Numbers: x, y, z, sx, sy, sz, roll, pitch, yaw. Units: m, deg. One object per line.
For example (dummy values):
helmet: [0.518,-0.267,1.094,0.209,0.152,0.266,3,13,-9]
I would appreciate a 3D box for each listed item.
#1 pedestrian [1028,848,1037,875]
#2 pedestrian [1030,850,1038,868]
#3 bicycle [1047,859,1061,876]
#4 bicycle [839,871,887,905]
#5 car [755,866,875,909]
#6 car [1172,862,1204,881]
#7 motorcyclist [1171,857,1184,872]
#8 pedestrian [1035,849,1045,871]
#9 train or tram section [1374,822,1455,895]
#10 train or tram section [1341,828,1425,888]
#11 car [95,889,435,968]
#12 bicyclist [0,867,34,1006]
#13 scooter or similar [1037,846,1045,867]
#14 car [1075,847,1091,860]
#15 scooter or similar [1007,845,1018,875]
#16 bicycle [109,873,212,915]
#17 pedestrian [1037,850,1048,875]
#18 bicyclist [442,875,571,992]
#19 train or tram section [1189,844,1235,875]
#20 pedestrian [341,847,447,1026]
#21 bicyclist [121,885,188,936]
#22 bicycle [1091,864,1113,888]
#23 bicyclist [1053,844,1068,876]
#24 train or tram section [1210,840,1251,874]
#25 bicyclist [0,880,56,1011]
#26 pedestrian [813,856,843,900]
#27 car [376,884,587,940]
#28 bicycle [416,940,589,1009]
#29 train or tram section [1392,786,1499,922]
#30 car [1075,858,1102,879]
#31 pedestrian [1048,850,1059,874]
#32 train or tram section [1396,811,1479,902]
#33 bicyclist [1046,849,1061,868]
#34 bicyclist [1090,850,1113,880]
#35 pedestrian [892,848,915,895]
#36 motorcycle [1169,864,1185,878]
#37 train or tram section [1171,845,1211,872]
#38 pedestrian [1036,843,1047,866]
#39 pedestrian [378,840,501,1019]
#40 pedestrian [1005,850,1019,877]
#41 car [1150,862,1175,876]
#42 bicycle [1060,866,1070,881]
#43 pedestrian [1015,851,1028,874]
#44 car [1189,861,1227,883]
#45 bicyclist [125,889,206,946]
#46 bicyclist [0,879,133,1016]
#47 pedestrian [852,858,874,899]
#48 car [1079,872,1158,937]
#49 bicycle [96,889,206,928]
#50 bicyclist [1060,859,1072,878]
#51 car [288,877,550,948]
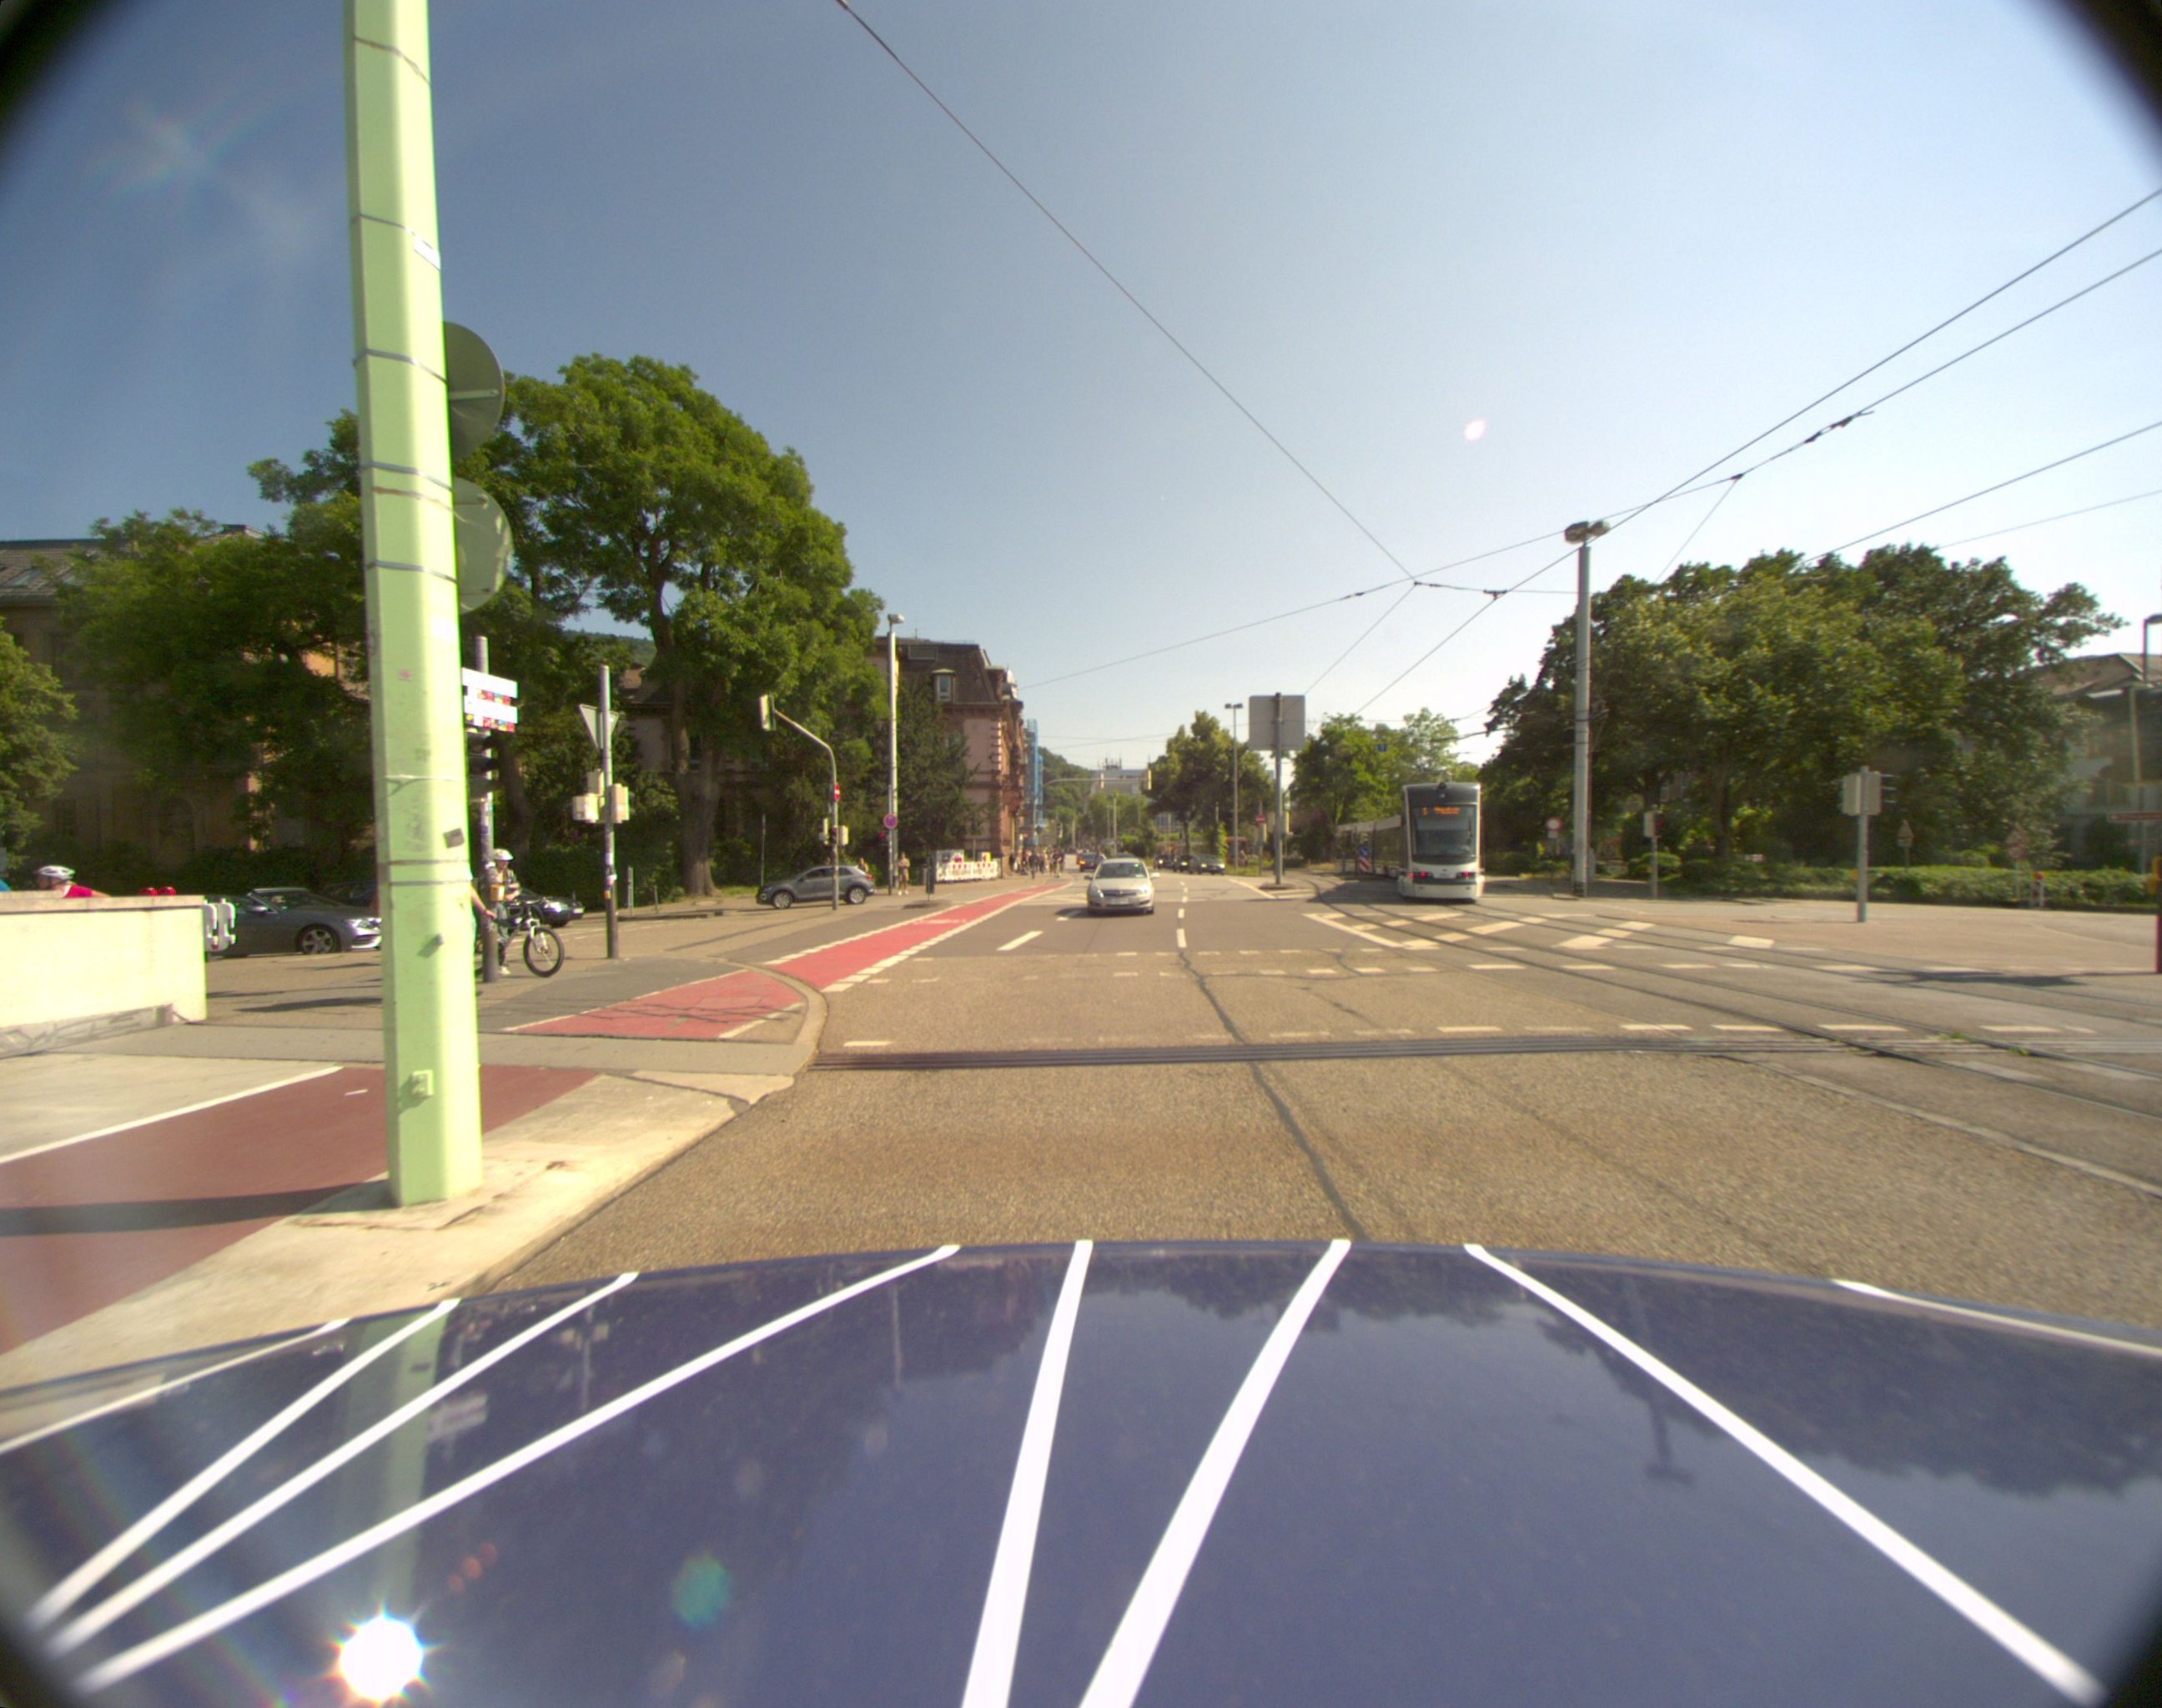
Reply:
pedestrian: [-3.538,0.546,55.150,0.636,1.880,0.903,0,0,-5]
pedestrian: [-4.419,0.492,71.033,0.707,1.685,0.628,1,1,-1]
bicycle: [-1.794,0.881,49.827,0.781,1.096,2.138,1,0,-5]
bicycle: [-9.297,1.444,32.475,0.801,1.199,2.276,3,4,18]
car: [-9.913,1.253,28.321,3.999,1.506,1.932,1,-2,-27]
car: [8.462,1.368,60.285,1.798,1.403,3.999,1,0,-2]
motorcyclist: [8.501,0.914,66.994,0.903,1.350,0.992,1,0,-4]
pedestrian: [-3.929,0.563,72.923,0.814,2.002,0.815,3,0,-4]
train or tram section: [19.046,0.308,43.973,2.541,3.754,9.180,0,-1,13]
train or tram section: [21.021,0.305,53.574,2.543,3.755,9.171,3,0,3]
car: [-16.220,1.466,15.369,4.486,1.387,1.846,1,0,-9]
bicyclist: [-12.007,0.887,7.879,1.082,1.465,0.928,-1,0,8]
scooter or similar: [-3.875,0.242,72.903,0.694,2.002,1.095,1,0,-4]
car: [0.231,-0.047,99.977,1.999,1.564,4.000,-1,-1,-2]
scooter or similar: [-4.586,0.414,50.837,0.694,2.002,1.095,1,0,-4]
bicycle: [-28.540,1.225,23.585,2.004,1.218,0.717,-1,0,-11]
pedestrian: [-2.749,0.581,54.549,0.707,1.758,0.903,-1,0,-5]
bicyclist: [-7.595,1.031,10.087,1.082,1.465,0.801,-1,0,6]
train or tram section: [15.260,0.675,89.537,2.767,3.383,12.409,1,0,-3]
pedestrian: [-6.957,0.810,7.718,0.535,1.750,0.577,-1,0,5]
bicyclist: [-28.720,1.740,23.567,1.060,1.544,0.776,0,0,-12]
bicycle: [0.998,1.033,36.540,0.644,1.076,2.495,1,0,-8]
bicyclist: [-1.306,0.411,48.333,0.944,2.002,0.830,1,0,-4]
train or tram section: [15.755,0.340,80.282,2.768,3.383,5.885,1,0,-4]
bicyclist: [-12.670,1.044,8.565,1.082,1.465,0.929,-1,0,10]
pedestrian: [-10.619,1.013,31.903,1.060,1.772,0.700,-1,4,-12]
car: [-16.805,1.602,21.492,4.315,1.349,1.881,-1,-1,-6]
bicycle: [-7.640,1.586,10.063,1.943,0.822,0.565,-1,0,6]
train or tram section: [12.519,-0.014,26.957,2.472,3.755,11.868,-1,0,21]
car: [0.587,1.178,62.352,1.999,1.564,4.000,-1,-1,-2]
pedestrian: [-1.999,0.563,54.645,0.707,1.743,0.902,1,1,-5]
train or tram section: [16.418,0.179,35.583,2.406,3.659,9.634,0,-1,18]
bicyclist: [-1.782,0.310,49.812,0.923,1.212,0.971,1,0,-4]
bicyclist: [0.980,0.518,36.601,0.913,1.385,1.232,1,0,-7]
pedestrian: [-7.810,0.767,33.432,0.777,2.002,1.059,1,0,-3]
motorcycle: [8.451,1.495,67.021,0.903,1.156,2.352,-1,0,-4]
train or tram section: [14.620,0.595,101.982,2.767,3.383,12.408,1,0,-3]
pedestrian: [-3.451,0.036,66.361,0.814,2.002,0.815,3,0,-4]
pedestrian: [-6.903,0.785,8.200,0.775,1.844,0.645,-1,0,5]
pedestrian: [-4.668,0.633,51.648,0.814,1.782,0.815,3,0,-4]
car: [7.676,1.415,71.668,1.637,1.301,3.913,1,0,-4]
bicycle: [-1.231,1.534,59.626,0.643,1.076,2.495,1,0,-4]
pedestrian: [-4.145,0.588,53.232,0.814,1.593,0.815,3,0,-4]
car: [8.999,1.252,54.068,1.752,1.477,4.747,2,0,-2]
bicyclist: [-28.410,1.951,23.614,1.089,1.667,1.171,-1,0,-12]
bicyclist: [-11.810,1.036,8.812,1.081,1.465,0.763,-1,0,24]
pedestrian: [-9.245,1.046,32.287,0.675,1.700,0.893,1,0,-2]
car: [1.134,1.292,20.809,1.801,1.492,4.500,-1,-1,7]
bicycle: [-28.769,1.672,23.540,2.250,1.158,0.616,0,0,-13]
bicyclist: [-1.177,1.107,59.505,0.913,1.428,1.232,1,0,-4]
car: [-15.926,1.374,18.523,4.486,1.497,1.846,-1,-1,-9]
